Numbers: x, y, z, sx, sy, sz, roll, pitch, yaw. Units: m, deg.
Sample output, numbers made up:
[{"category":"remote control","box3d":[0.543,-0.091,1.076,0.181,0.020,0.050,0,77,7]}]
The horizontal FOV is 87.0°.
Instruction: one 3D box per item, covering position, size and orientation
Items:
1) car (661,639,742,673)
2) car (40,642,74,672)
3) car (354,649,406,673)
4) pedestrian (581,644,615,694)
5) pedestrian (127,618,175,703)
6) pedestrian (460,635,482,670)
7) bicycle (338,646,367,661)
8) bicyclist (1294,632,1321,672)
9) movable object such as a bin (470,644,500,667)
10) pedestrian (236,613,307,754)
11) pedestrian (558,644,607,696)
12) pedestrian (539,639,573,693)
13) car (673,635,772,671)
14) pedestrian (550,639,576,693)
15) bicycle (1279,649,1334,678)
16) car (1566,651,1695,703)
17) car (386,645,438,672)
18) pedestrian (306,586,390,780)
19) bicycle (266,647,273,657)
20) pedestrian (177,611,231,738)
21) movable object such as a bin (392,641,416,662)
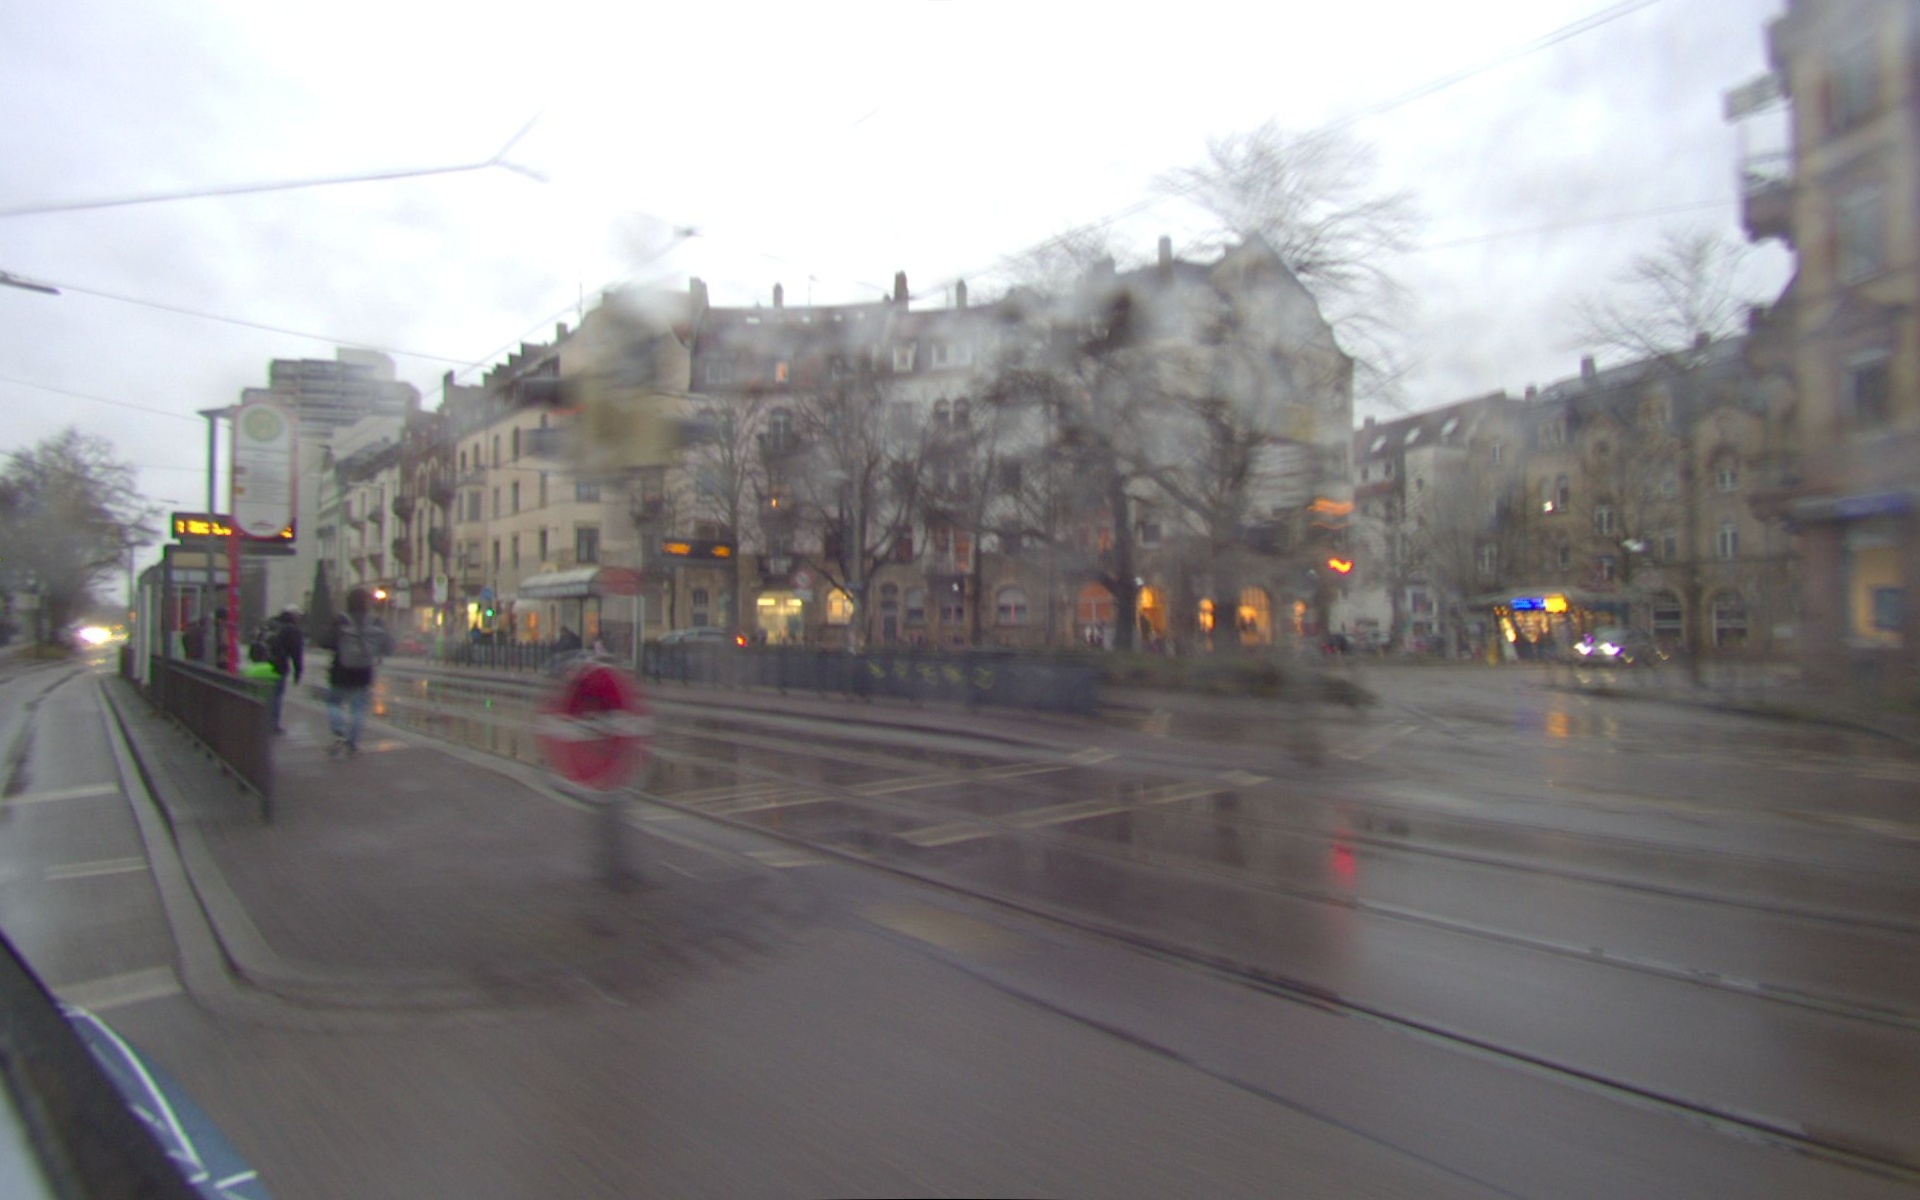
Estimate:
[{"category":"car","box3d":[-13.155,2.846,51.706,3.767,1.483,1.616,-2,-1,-5]},{"category":"car","box3d":[-64.252,4.038,71.980,1.701,1.960,4.513,-2,-1,-43]},{"category":"car","box3d":[-37.325,3.901,65.058,1.781,1.400,4.511,-2,-1,-45]},{"category":"pedestrian","box3d":[-9.329,1.760,26.077,0.644,1.227,0.518,-2,-1,-42]},{"category":"pedestrian","box3d":[-19.445,1.439,24.322,0.843,1.970,0.572,-2,-1,-41]},{"category":"pedestrian","box3d":[-27.293,2.910,56.472,0.786,1.892,0.895,-2,-1,-5]},{"category":"bicycle","box3d":[-49.935,4.395,83.225,1.960,1.167,0.532,-2,-1,-42]},{"category":"bicyclist","box3d":[12.546,1.873,36.539,0.756,1.374,0.529,-1,-1,7]},{"category":"movable object such as a bin","box3d":[-29.927,3.474,63.753,1.333,1.382,1.282,-2,-1,-43]},{"category":"pedestrian","box3d":[-8.835,1.051,12.990,0.649,1.721,0.572,-2,-1,-41]},{"category":"pedestrian","box3d":[-9.858,1.823,26.457,1.043,1.264,0.507,-2,-1,-42]},{"category":"pedestrian","box3d":[-11.033,1.793,27.644,0.675,1.414,0.579,-2,-1,-42]},{"category":"car","box3d":[-11.179,2.493,47.938,4.281,1.595,1.938,0,-2,-2]},{"category":"pedestrian","box3d":[-10.688,1.778,27.229,0.467,1.414,0.454,-2,-1,-42]},{"category":"bicycle","box3d":[12.492,2.292,36.549,1.790,1.015,0.491,-1,-2,7]},{"category":"car","box3d":[24.408,2.776,36.867,3.796,1.785,1.885,1,-3,-17]},{"category":"car","box3d":[-33.181,3.531,61.248,3.679,1.528,1.654,-3,-1,43]},{"category":"pedestrian","box3d":[-6.415,0.837,10.632,0.677,1.932,0.720,-2,-1,-30]},{"category":"bicycle","box3d":[-67.460,5.086,98.916,0.428,1.014,1.608,1,-3,-40]},{"category":"pedestrian","box3d":[-11.230,1.087,15.032,0.550,1.821,0.572,-2,-1,-41]},{"category":"movable object such as a bin","box3d":[-39.370,3.646,71.618,1.221,1.442,1.075,-2,-1,-43]}]
